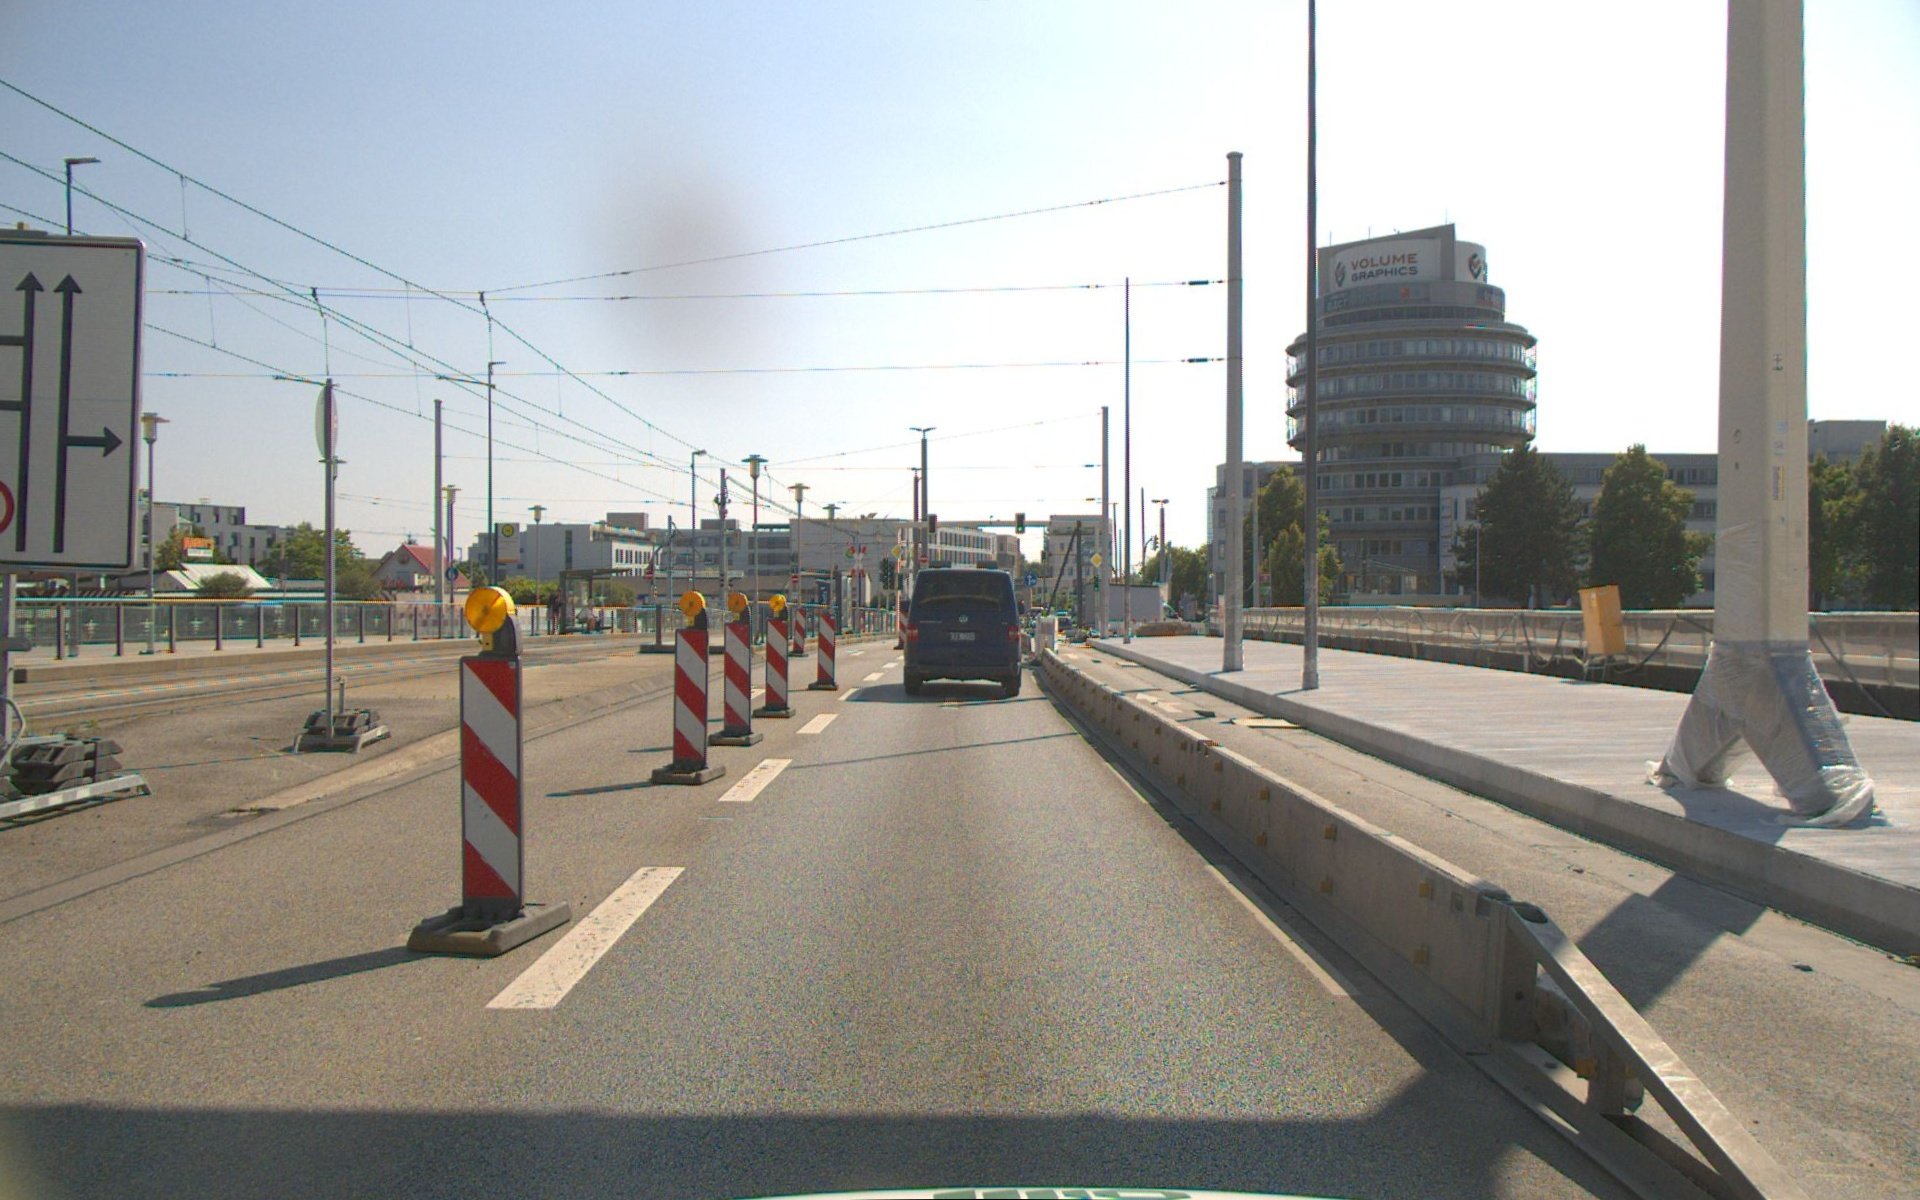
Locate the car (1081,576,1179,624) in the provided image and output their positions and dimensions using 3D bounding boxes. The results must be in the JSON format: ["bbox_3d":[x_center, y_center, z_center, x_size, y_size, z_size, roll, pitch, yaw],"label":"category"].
[{"bbox_3d":[10.871,0.000,105.524,5.880,2.937,2.326,1,0,-27],"label":"car"}]

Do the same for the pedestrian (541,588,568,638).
[{"bbox_3d":[-13.832,0.444,56.418,0.646,1.683,0.740,0,0,12],"label":"pedestrian"}]

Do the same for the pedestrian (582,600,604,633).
[{"bbox_3d":[-14.187,0.638,63.975,0.634,1.296,0.697,0,0,4],"label":"pedestrian"}]

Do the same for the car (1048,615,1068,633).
[{"bbox_3d":[8.452,2.071,142.674,1.707,1.501,3.886,0,-1,4],"label":"car"}]

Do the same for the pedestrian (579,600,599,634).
[{"bbox_3d":[-14.231,0.643,63.396,0.634,1.296,0.453,0,0,4],"label":"pedestrian"}]

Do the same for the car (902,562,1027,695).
[{"bbox_3d":[0.058,0.422,27.140,1.849,1.968,4.000,2,0,0],"label":"car"}]
